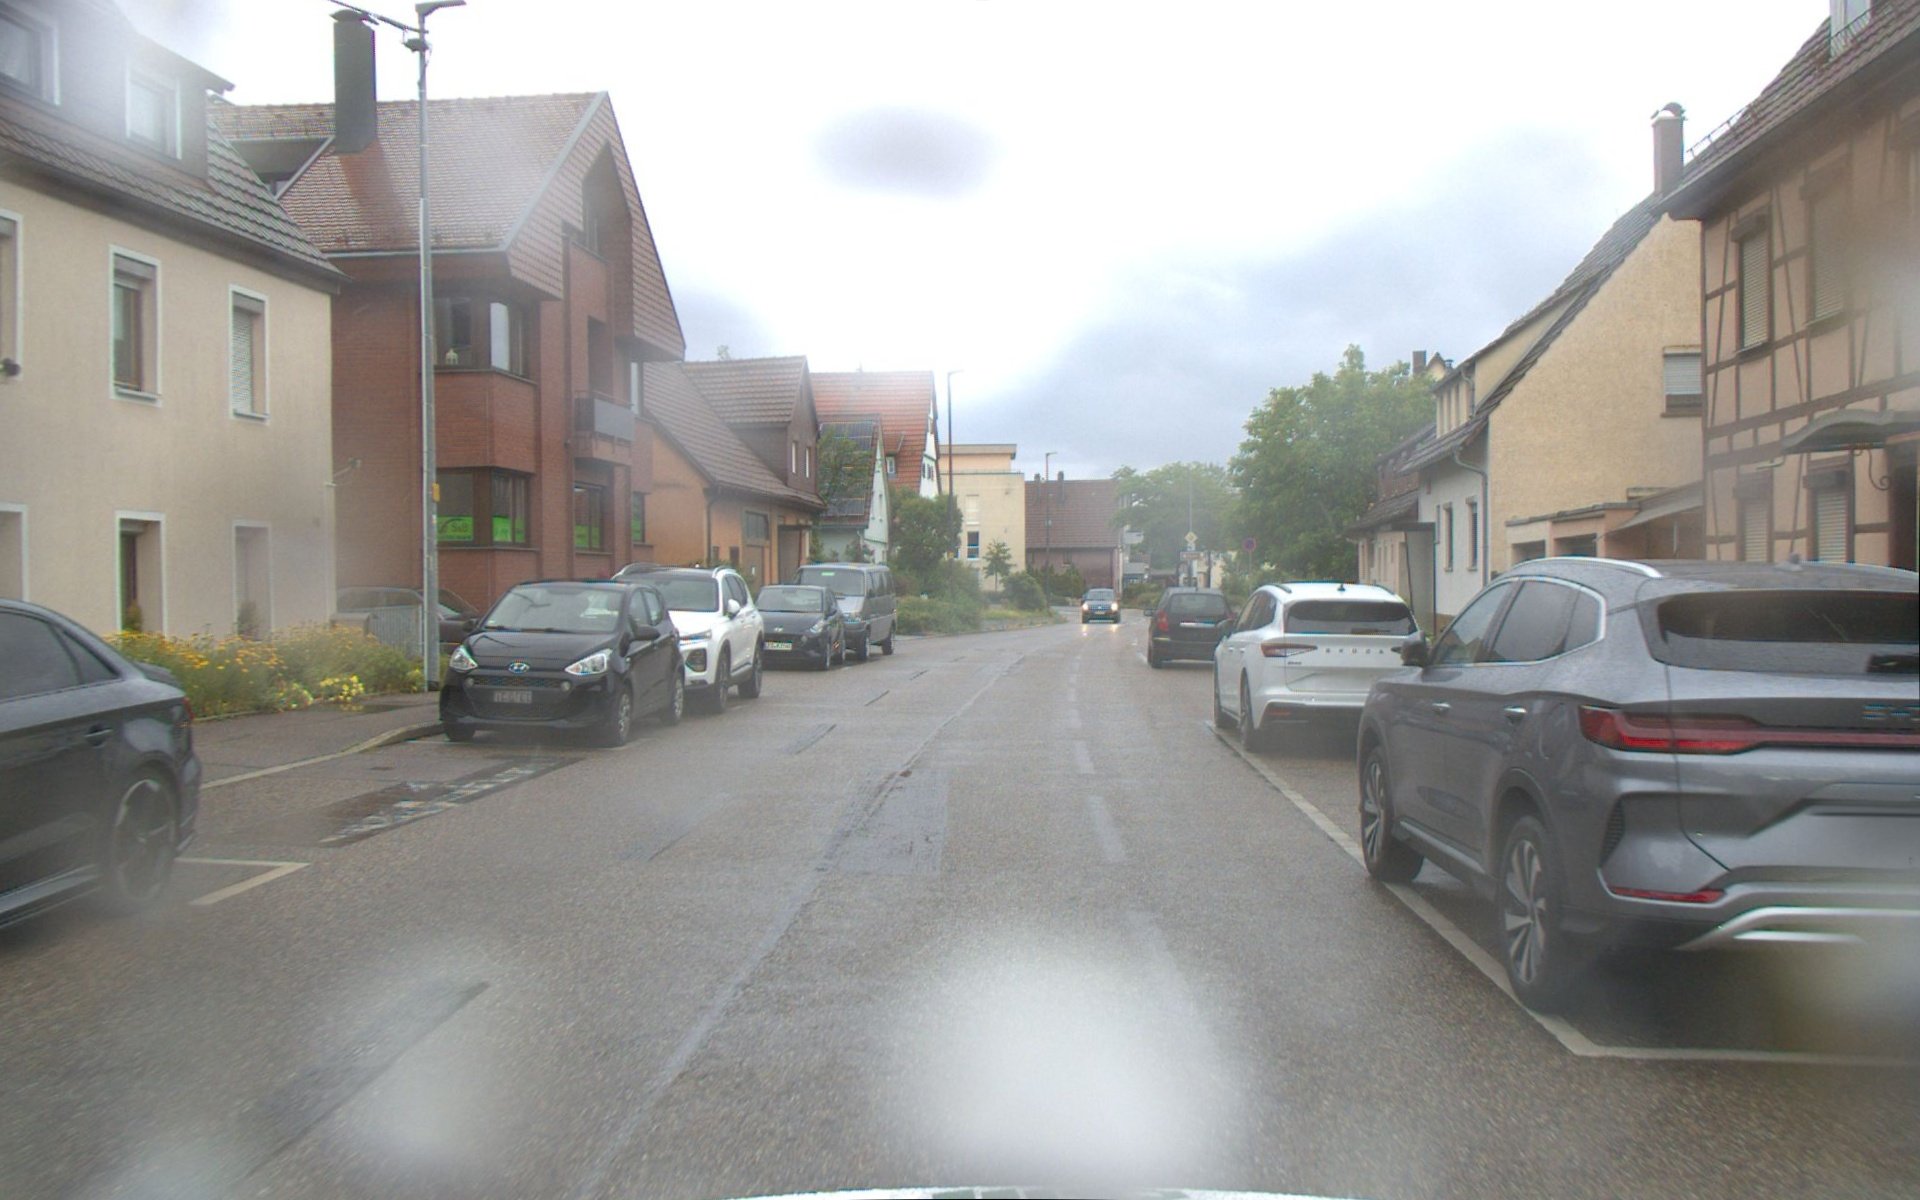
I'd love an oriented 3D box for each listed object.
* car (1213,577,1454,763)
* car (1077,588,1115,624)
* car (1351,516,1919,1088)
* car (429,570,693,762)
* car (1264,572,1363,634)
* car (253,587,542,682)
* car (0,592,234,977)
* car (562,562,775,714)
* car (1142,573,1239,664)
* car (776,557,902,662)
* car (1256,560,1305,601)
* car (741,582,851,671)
[{"bbox_3d":[3.714,0.623,17.213,1.765,1.623,4.614,1,0,4],"label":"car"},{"bbox_3d":[6.690,0.300,81.023,1.760,1.669,4.002,1,0,5],"label":"car"},{"bbox_3d":[3.127,0.631,7.403,1.869,1.747,4.557,2,0,3],"label":"car"},{"bbox_3d":[-3.723,0.569,15.957,1.571,1.646,3.278,-1,0,3],"label":"car"},{"bbox_3d":[9.988,0.067,46.547,1.725,1.417,3.998,-7,-1,26],"label":"car"},{"bbox_3d":[-9.145,0.550,27.007,4.083,1.427,1.791,-1,0,10],"label":"car"},{"bbox_3d":[-4.294,0.668,5.752,1.593,1.379,4.112,1,0,2],"label":"car"},{"bbox_3d":[-3.476,0.415,20.587,1.728,1.647,4.657,-1,0,1],"label":"car"},{"bbox_3d":[4.709,0.358,34.224,1.712,1.739,4.002,-1,0,4],"label":"car"},{"bbox_3d":[-2.475,0.176,35.090,1.783,2.049,5.218,-1,0,5],"label":"car"},{"bbox_3d":[11.784,-0.705,60.968,1.603,1.455,3.680,-1,0,9],"label":"car"},{"bbox_3d":[-2.939,0.454,30.242,1.545,1.523,3.568,-1,0,2],"label":"car"}]
